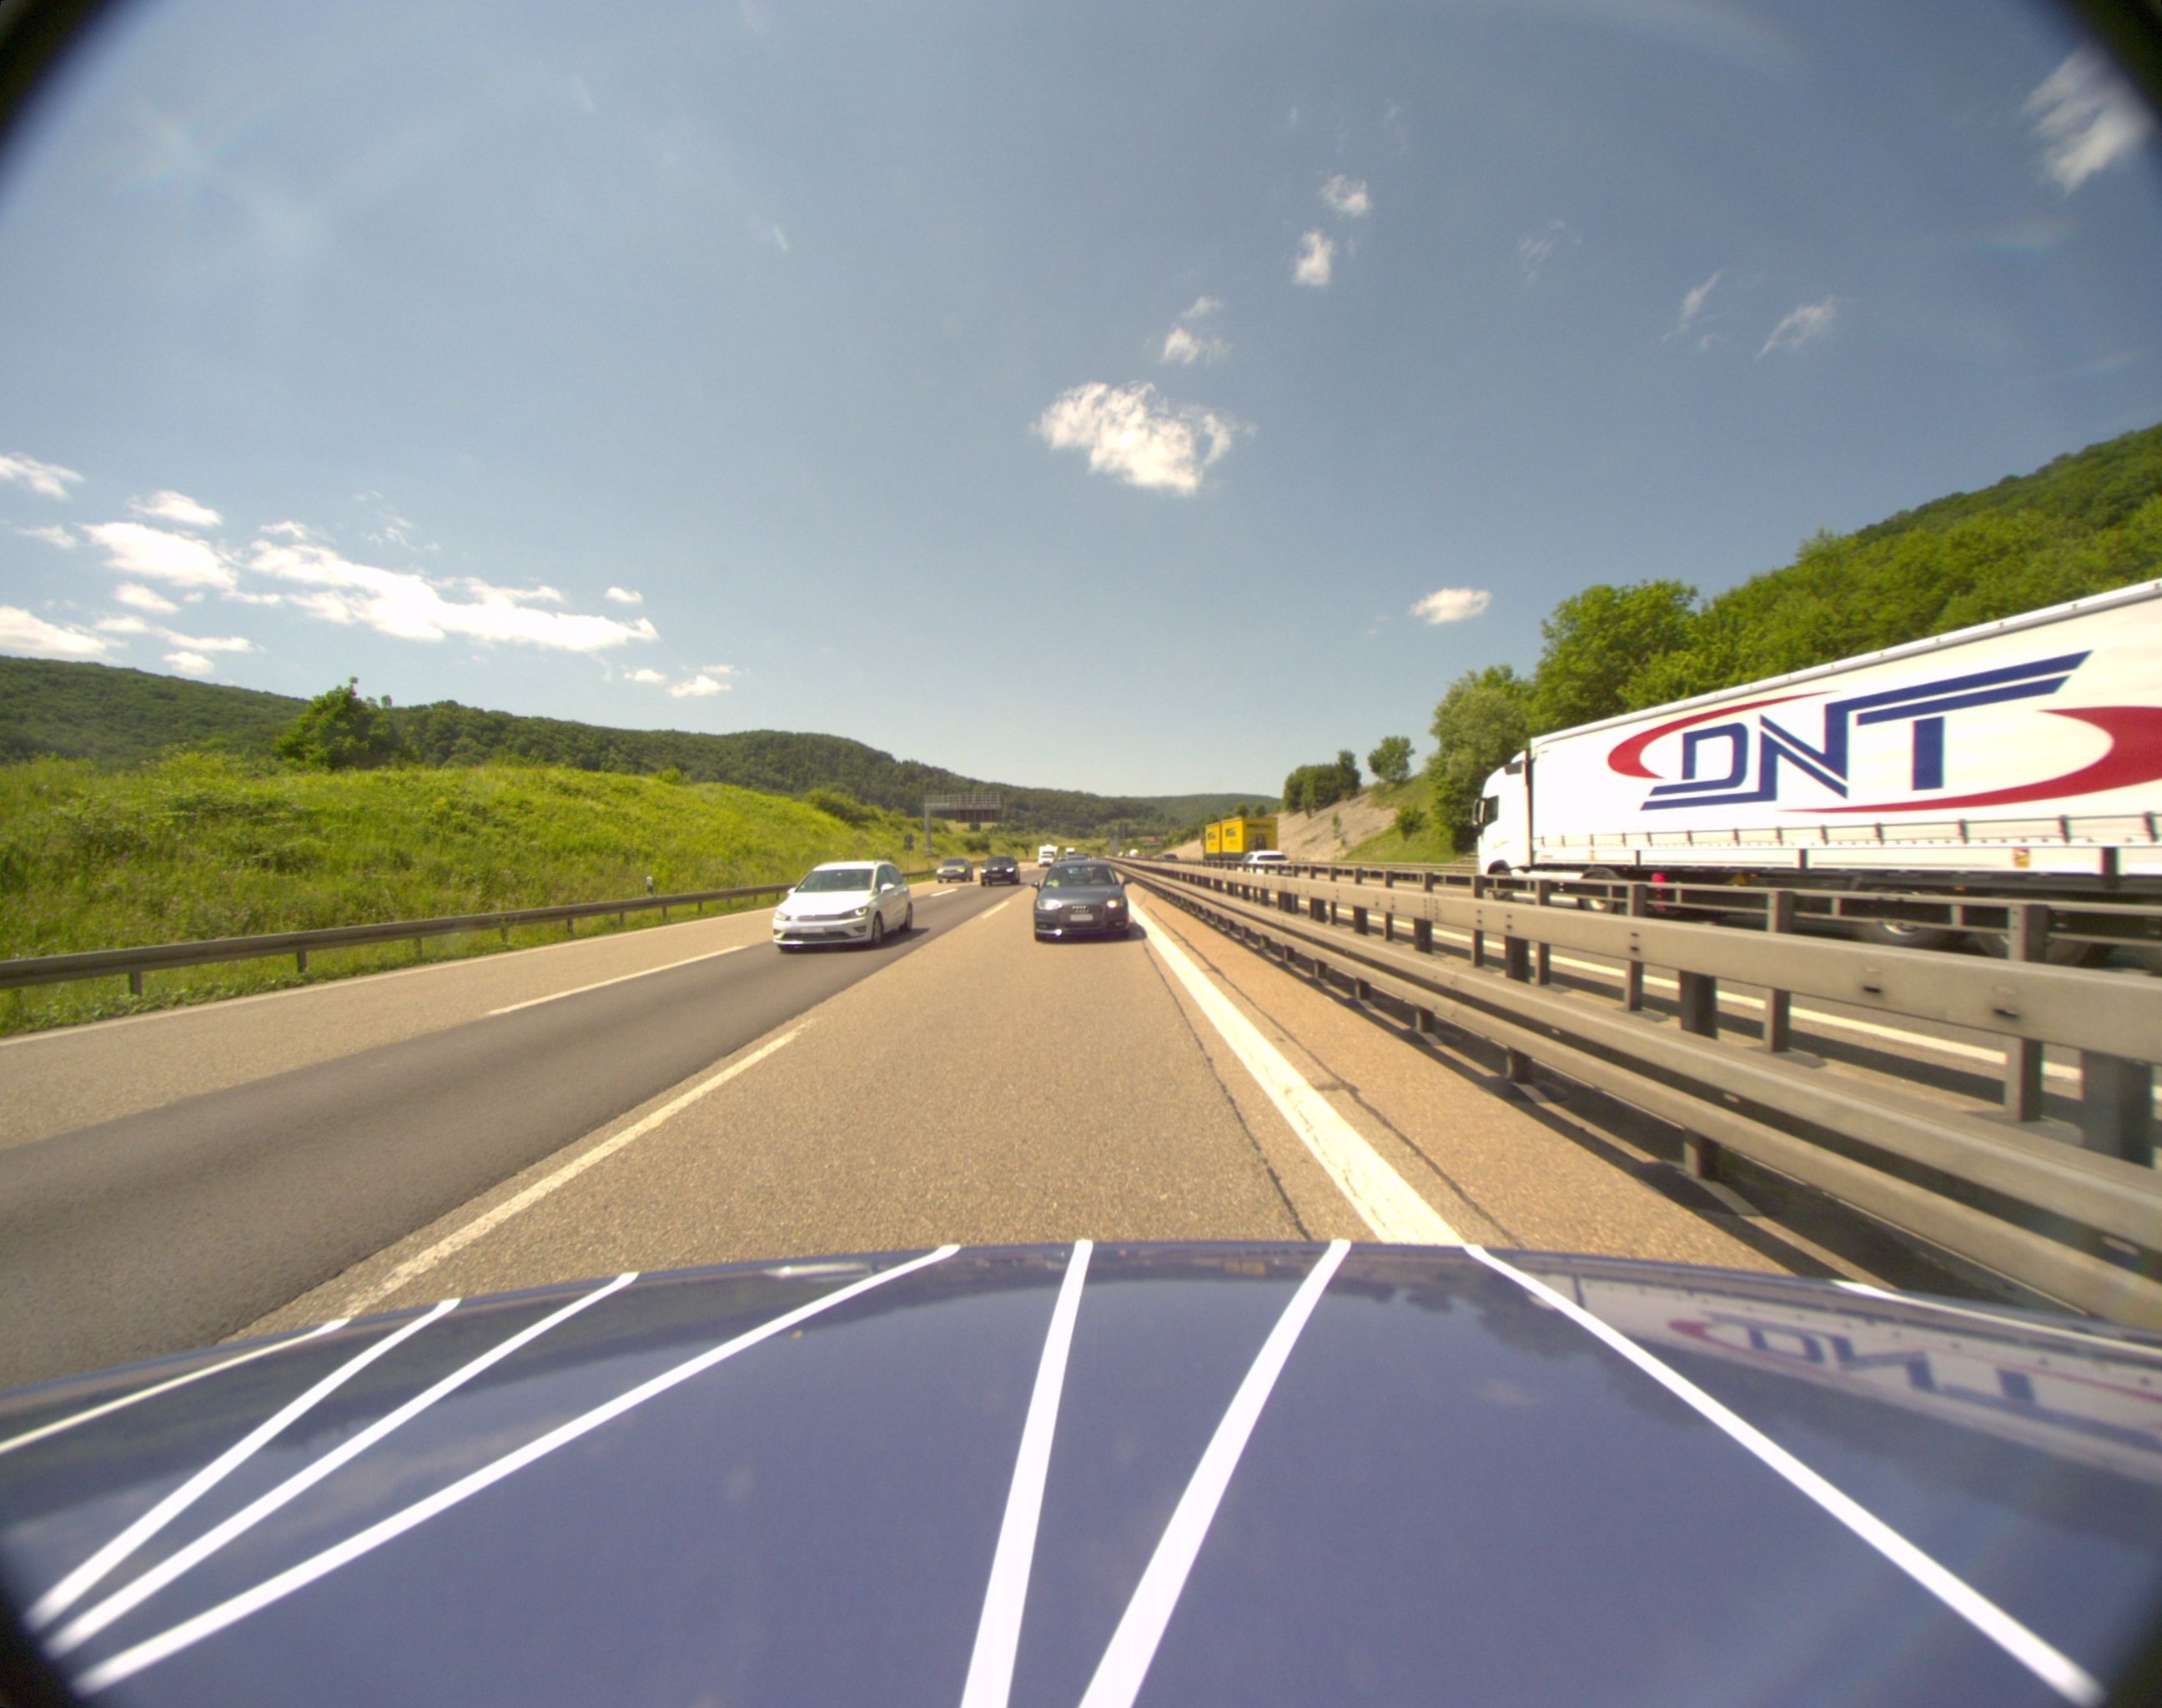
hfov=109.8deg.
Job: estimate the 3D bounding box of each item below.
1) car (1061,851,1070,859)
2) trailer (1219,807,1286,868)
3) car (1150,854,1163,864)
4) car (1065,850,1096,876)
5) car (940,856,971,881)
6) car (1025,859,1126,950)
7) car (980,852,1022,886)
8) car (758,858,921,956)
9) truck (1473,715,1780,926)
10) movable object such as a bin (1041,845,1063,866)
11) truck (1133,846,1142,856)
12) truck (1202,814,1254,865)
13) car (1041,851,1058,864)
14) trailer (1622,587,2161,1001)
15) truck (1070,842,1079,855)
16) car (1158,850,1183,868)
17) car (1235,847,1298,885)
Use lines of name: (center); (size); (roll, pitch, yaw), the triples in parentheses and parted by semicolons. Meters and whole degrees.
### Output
car: (-3.036, 0.231, 149.375); (1.711, 1.542, 4.000); (-1, 0, 1)
trailer: (12.868, -1.192, 58.075); (2.834, 4.123, 10.404); (-2, 0, 1)
car: (12.096, 0.805, 122.512); (1.672, 1.426, 3.999); (-2, 0, 0)
car: (0.013, 0.583, 49.287); (1.835, 1.586, 4.000); (-1, 0, 2)
car: (-8.402, 0.937, 51.066); (1.684, 1.585, 4.246); (-2, 0, -5)
car: (0.019, 0.854, 14.621); (1.591, 1.402, 4.001); (-2, 0, 4)
car: (-4.365, 0.793, 42.022); (1.893, 1.762, 4.170); (-1, 0, -1)
car: (-4.474, 0.906, 14.765); (1.777, 1.532, 4.054); (-2, 0, 1)
truck: (12.076, -0.659, 17.653); (2.916, 4.078, 5.847); (0, 1, 1)
movable object such as a bin: (-3.843, 0.206, 102.391); (2.481, 2.616, 6.708); (-2, 0, 1)
truck: (18.433, -1.035, 247.896); (2.617, 3.035, 10.990); (-2, 0, 2)
truck: (13.034, -1.261, 68.099); (2.834, 4.123, 9.614); (-2, 0, 1)
car: (-3.928, 0.390, 95.248); (1.821, 1.574, 4.000); (-1, 0, 1)
trailer: (12.011, -0.603, 9.228); (2.863, 4.052, 11.262); (0, 0, 0)
truck: (-2.060, -1.669, 234.216); (2.336, 3.623, 7.005); (-2, 0, 1)
car: (8.674, 0.479, 74.157); (1.850, 1.586, 4.751); (-1, 0, -1)
car: (7.919, 0.469, 32.804); (1.751, 1.510, 4.000); (-2, 0, 1)
